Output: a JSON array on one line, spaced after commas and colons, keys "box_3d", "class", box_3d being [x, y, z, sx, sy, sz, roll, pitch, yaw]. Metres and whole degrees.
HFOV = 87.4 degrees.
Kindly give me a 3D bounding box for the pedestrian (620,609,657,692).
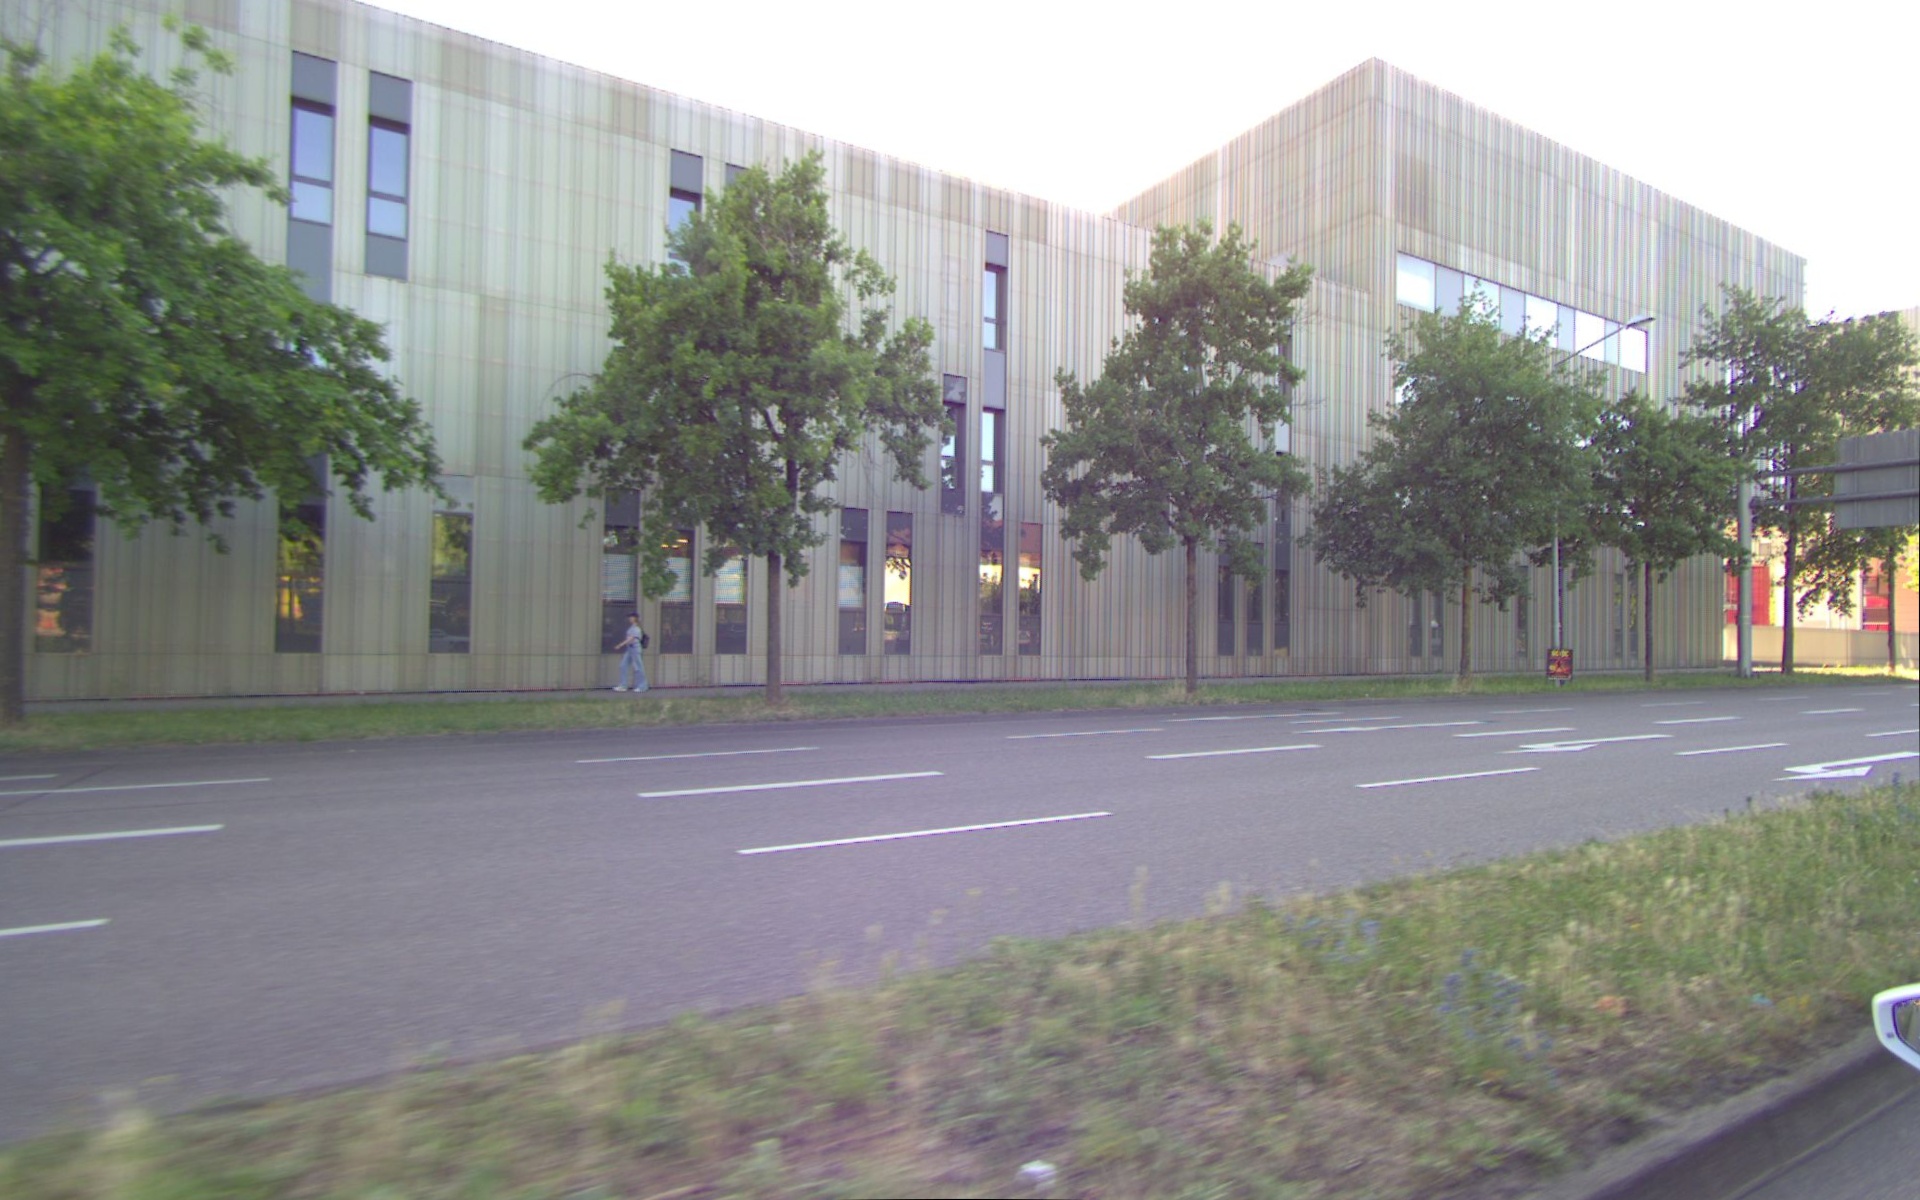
[{"box_3d": [-7.031, 1.101, 21.985, 0.641, 1.790, 0.600, 1, -1, -29], "class": "pedestrian"}]
